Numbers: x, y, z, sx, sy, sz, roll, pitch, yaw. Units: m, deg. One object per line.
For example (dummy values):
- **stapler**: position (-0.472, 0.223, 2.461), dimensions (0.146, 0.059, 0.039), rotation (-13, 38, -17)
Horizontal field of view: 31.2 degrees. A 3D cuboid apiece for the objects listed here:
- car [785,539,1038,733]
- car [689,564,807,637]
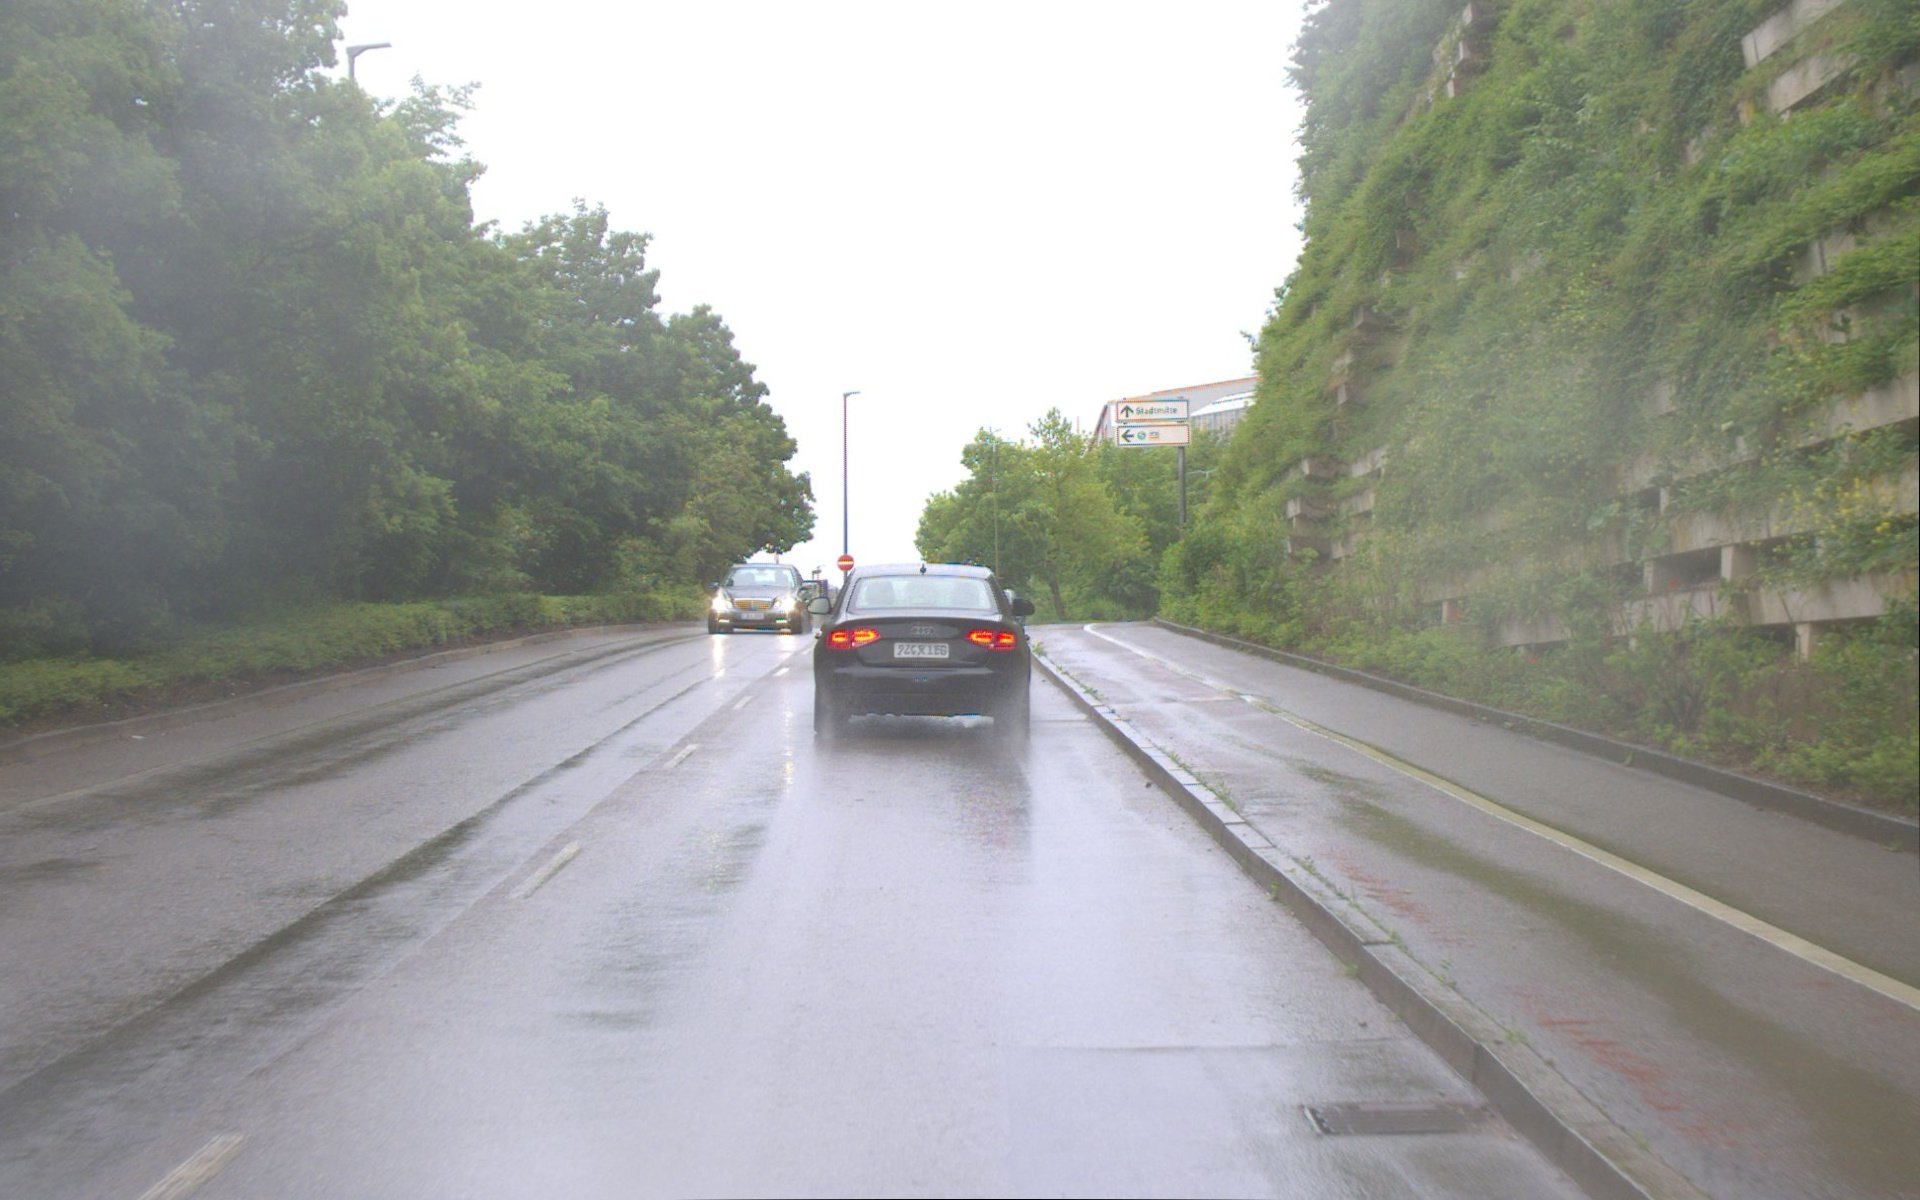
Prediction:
- **car**: position (-0.337, 0.248, 29.123), dimensions (1.893, 1.487, 4.207), rotation (1, 1, 2)
- **car**: position (-4.188, -0.010, 68.620), dimensions (1.993, 1.359, 4.251), rotation (1, 1, 1)
